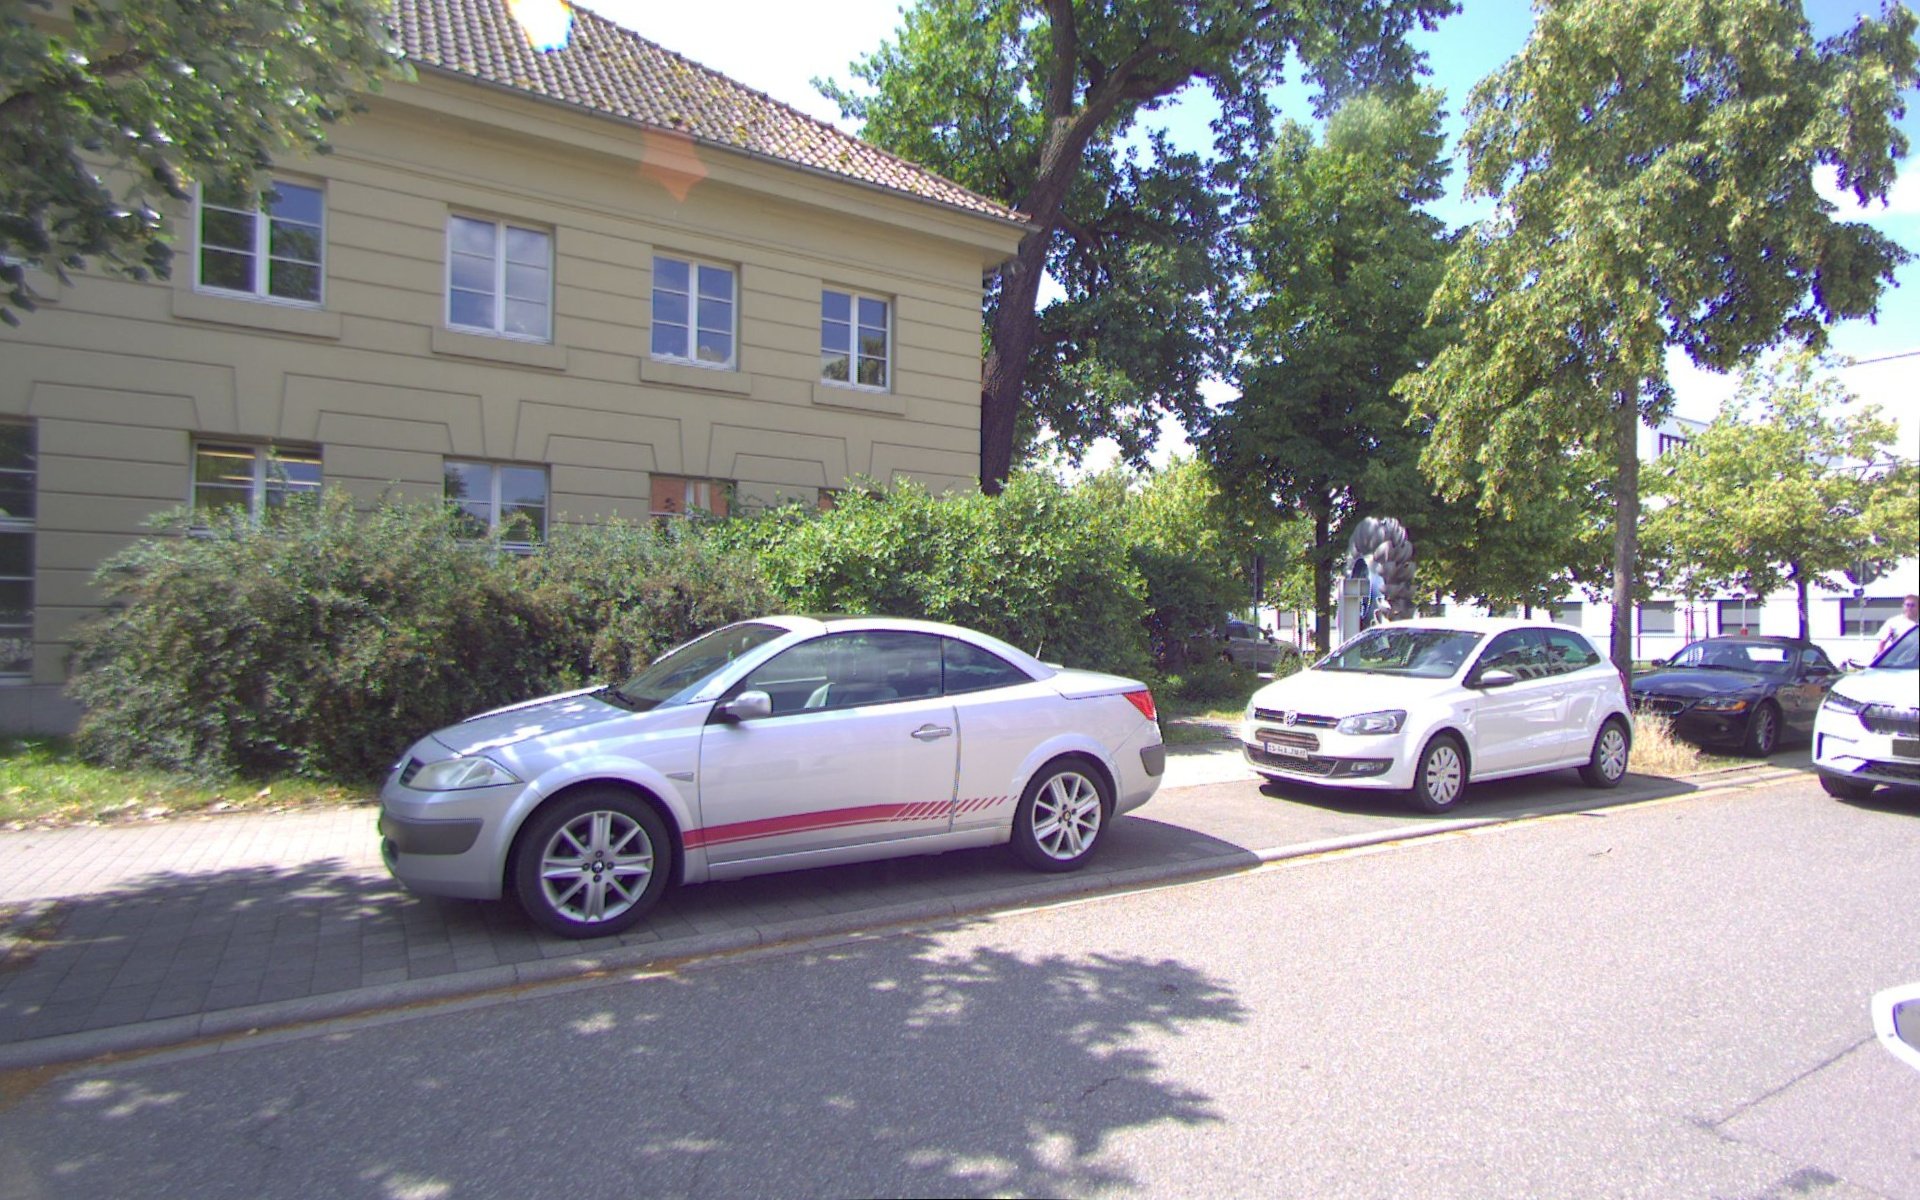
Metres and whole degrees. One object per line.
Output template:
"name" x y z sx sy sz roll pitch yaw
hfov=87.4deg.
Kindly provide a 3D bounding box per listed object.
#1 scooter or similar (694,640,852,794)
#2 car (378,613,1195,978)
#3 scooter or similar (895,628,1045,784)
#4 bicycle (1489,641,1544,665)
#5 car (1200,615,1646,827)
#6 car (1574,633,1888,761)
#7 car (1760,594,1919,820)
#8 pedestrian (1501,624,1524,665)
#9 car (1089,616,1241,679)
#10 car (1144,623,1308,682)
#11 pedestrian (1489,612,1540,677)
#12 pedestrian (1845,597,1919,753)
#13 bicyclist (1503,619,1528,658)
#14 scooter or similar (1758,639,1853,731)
"scooter or similar" -1.513 0.935 8.178 1.205 1.187 0.471 1 -1 -11
"car" -0.838 0.801 5.620 4.115 1.361 1.717 1 0 -29
"scooter or similar" 0.095 0.918 8.990 1.215 1.304 0.522 0 -4 -31
"bicycle" 25.584 2.407 46.205 0.801 1.015 2.108 2 -1 -28
"car" 4.029 0.884 8.619 3.763 1.430 1.654 1 0 -31
"car" 9.345 1.071 12.125 3.881 1.318 1.638 1 -2 -30
"car" 8.993 0.891 8.608 4.470 1.640 1.907 3 0 -32
"pedestrian" 24.423 1.962 44.403 0.629 1.772 0.690 2 -1 -30
"car" 6.272 1.427 30.652 4.390 1.791 1.919 0 -4 -31
"car" 7.525 1.468 28.320 4.390 1.536 1.919 0 -4 -31
"pedestrian" 15.037 1.193 27.254 0.838 1.731 0.853 -1 -1 -8
"pedestrian" 12.199 0.955 12.985 1.001 1.928 1.175 1 -1 36
"bicyclist" 25.588 1.761 46.279 0.801 1.779 0.688 2 -1 -27
"scooter or similar" 12.599 1.252 14.973 1.197 1.316 0.504 0 -2 -19
